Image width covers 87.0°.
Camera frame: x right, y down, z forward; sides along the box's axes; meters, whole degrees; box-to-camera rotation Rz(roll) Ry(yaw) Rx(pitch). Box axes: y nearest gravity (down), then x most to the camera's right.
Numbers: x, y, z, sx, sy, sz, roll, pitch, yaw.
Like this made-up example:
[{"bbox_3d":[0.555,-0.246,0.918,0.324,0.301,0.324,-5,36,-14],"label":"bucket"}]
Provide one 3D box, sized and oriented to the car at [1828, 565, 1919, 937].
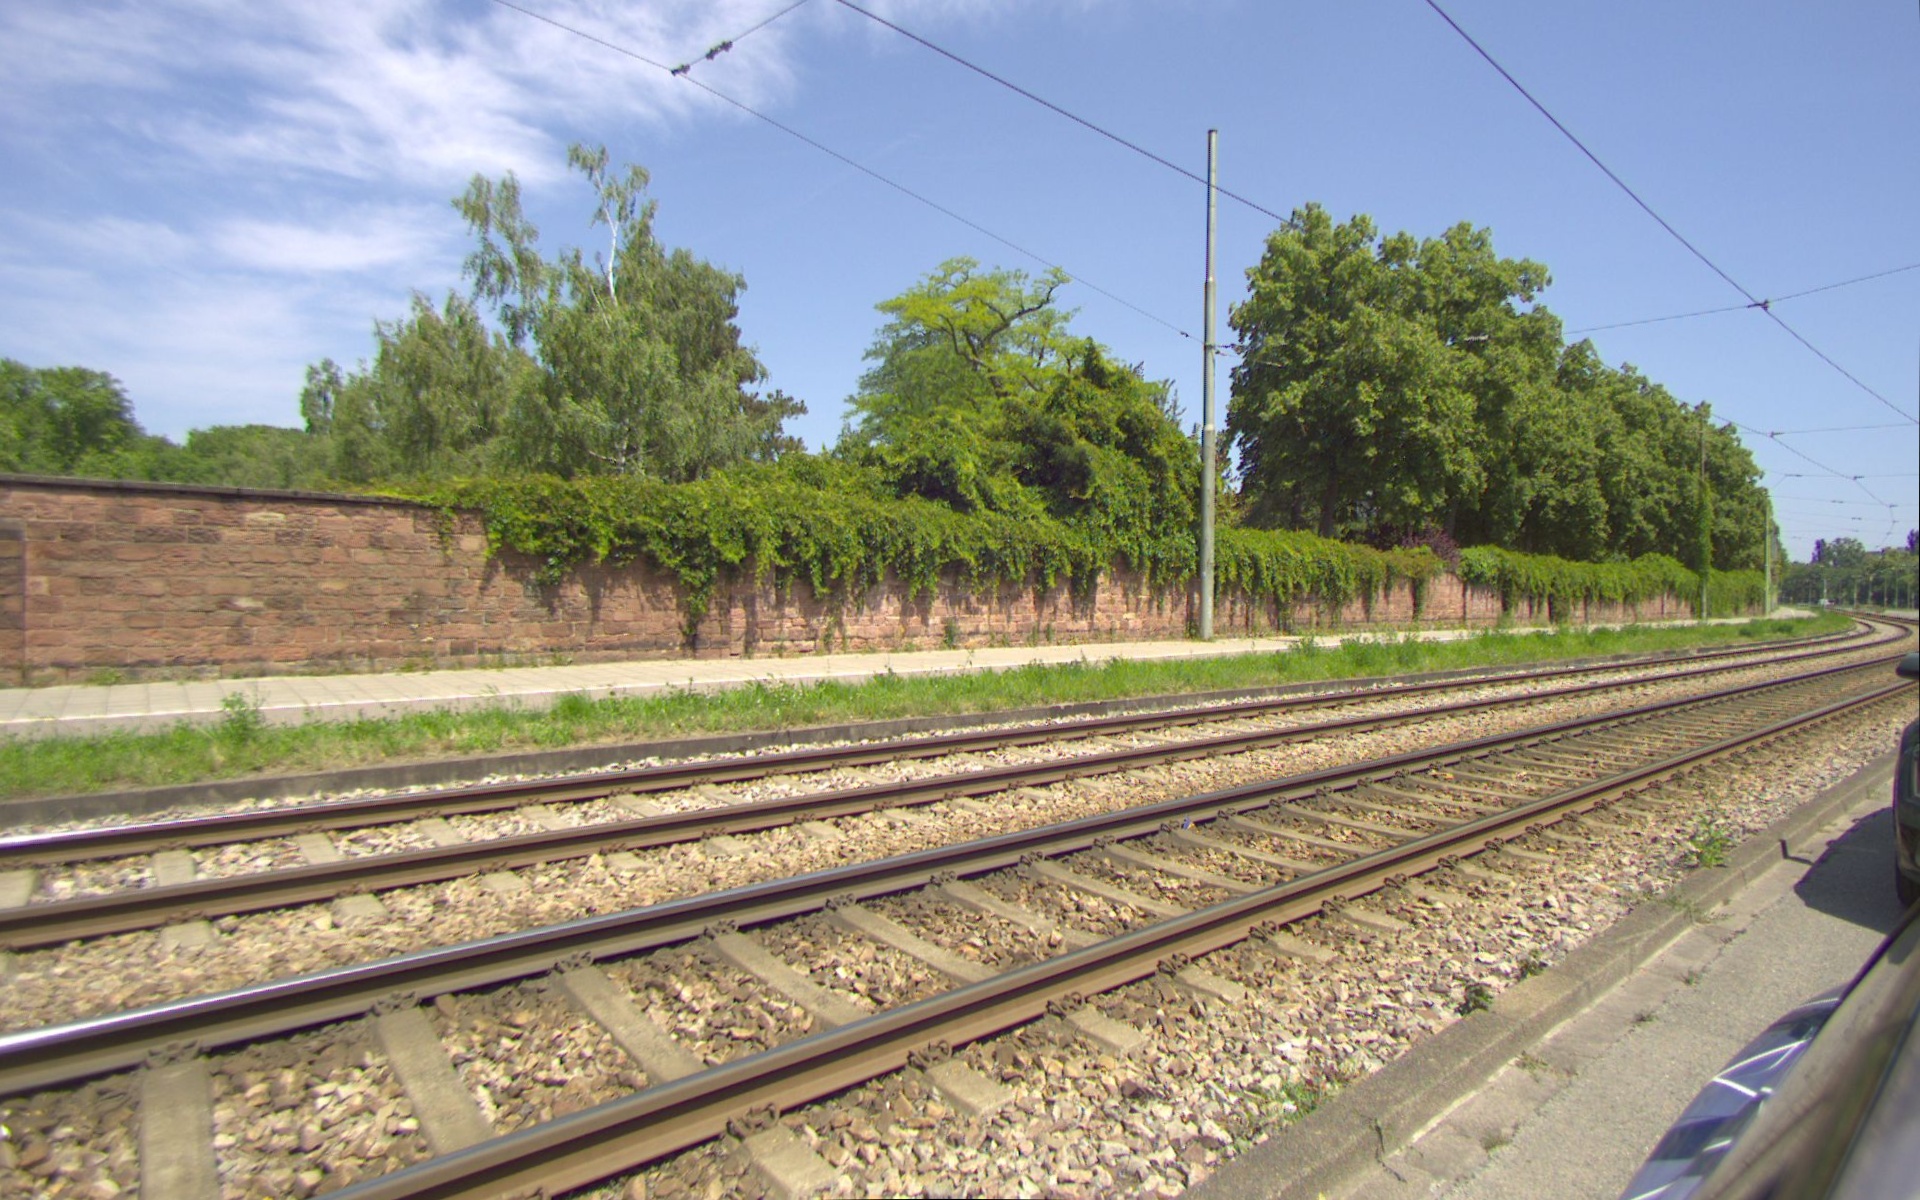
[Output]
[{"bbox_3d":[6.027,0.626,4.885,3.927,1.563,2.062,0,-1,-38],"label":"car"}]
